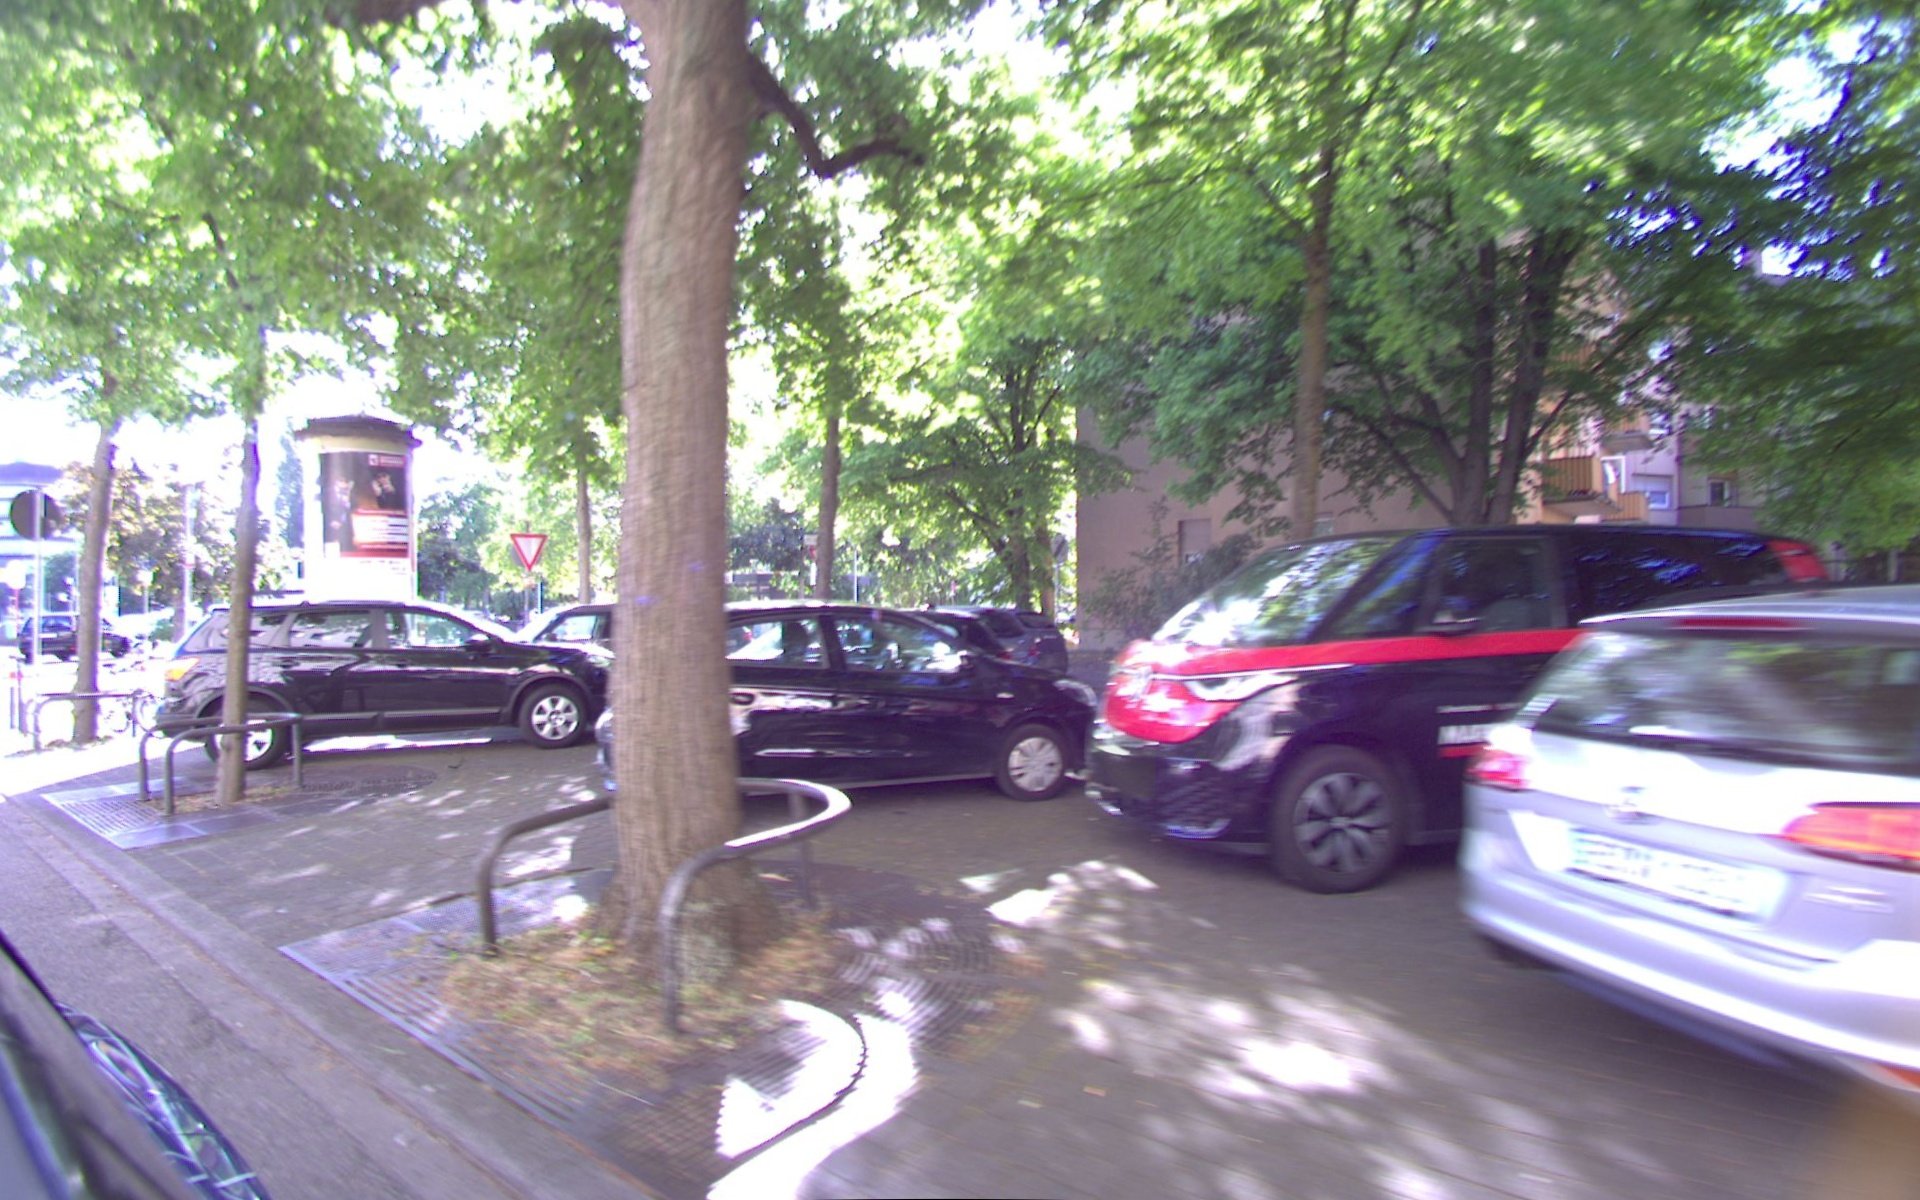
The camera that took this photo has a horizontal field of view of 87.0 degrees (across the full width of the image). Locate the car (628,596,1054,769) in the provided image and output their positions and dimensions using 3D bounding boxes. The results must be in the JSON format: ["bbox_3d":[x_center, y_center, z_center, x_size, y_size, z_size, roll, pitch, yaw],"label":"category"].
[{"bbox_3d":[-1.199,0.700,10.230,3.881,1.433,1.827,-1,0,-26],"label":"car"}]

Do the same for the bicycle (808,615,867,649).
[{"bbox_3d":[-3.876,1.002,31.988,2.027,1.039,0.443,-1,-1,32],"label":"bicycle"}]

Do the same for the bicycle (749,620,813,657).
[{"bbox_3d":[-5.333,1.142,30.139,2.027,1.039,0.565,-1,-1,32],"label":"bicycle"}]

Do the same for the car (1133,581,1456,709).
[{"bbox_3d":[4.877,0.589,15.071,4.242,1.652,1.737,-1,0,39],"label":"car"}]

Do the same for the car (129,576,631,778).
[{"bbox_3d":[-5.806,0.683,10.759,4.262,1.684,1.843,-3,1,-20],"label":"car"}]

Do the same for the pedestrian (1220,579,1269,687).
[{"bbox_3d":[4.758,0.540,16.911,0.539,1.749,0.733,-1,-1,36],"label":"pedestrian"}]

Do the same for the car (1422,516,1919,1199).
[{"bbox_3d":[3.874,0.564,3.121,4.270,1.518,1.819,-1,0,-16],"label":"car"}]

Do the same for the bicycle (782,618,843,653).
[{"bbox_3d":[-4.537,1.089,31.121,2.027,1.039,0.464,-1,-1,32],"label":"bicycle"}]

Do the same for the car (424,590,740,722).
[{"bbox_3d":[-5.315,0.693,14.272,3.931,1.623,1.928,0,-1,-29],"label":"car"}]

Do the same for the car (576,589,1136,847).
[{"bbox_3d":[-0.809,0.691,7.458,3.757,1.492,1.767,-1,0,-21],"label":"car"}]

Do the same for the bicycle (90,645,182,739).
[{"bbox_3d":[-10.291,1.120,12.621,1.586,1.080,0.350,-1,0,30],"label":"bicycle"}]

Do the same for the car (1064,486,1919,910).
[{"bbox_3d":[3.068,0.411,6.039,4.426,1.887,1.941,-1,0,-16],"label":"car"}]

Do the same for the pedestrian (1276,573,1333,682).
[{"bbox_3d":[5.669,0.444,16.672,0.530,1.749,0.744,0,0,-17],"label":"pedestrian"}]

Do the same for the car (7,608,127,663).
[{"bbox_3d":[-27.921,1.063,31.779,1.655,1.519,3.608,-3,1,-22],"label":"car"}]

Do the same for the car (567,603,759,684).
[{"bbox_3d":[-6.351,0.846,21.399,4.298,1.530,1.883,-1,0,41],"label":"car"}]

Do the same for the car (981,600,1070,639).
[{"bbox_3d":[2.579,0.751,39.482,3.228,1.492,1.613,-1,0,16],"label":"car"}]

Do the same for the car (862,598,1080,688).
[{"bbox_3d":[0.140,0.752,19.195,3.946,1.523,1.736,-1,0,40],"label":"car"}]

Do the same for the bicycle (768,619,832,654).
[{"bbox_3d":[-4.865,1.110,30.670,2.027,1.039,0.565,-1,-1,32],"label":"bicycle"}]

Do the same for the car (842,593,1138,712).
[{"bbox_3d":[0.380,0.677,14.531,3.938,1.497,1.739,-1,0,34],"label":"car"}]

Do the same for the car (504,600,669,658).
[{"bbox_3d":[-10.891,0.805,29.823,1.897,1.564,4.440,-1,0,29],"label":"car"}]
